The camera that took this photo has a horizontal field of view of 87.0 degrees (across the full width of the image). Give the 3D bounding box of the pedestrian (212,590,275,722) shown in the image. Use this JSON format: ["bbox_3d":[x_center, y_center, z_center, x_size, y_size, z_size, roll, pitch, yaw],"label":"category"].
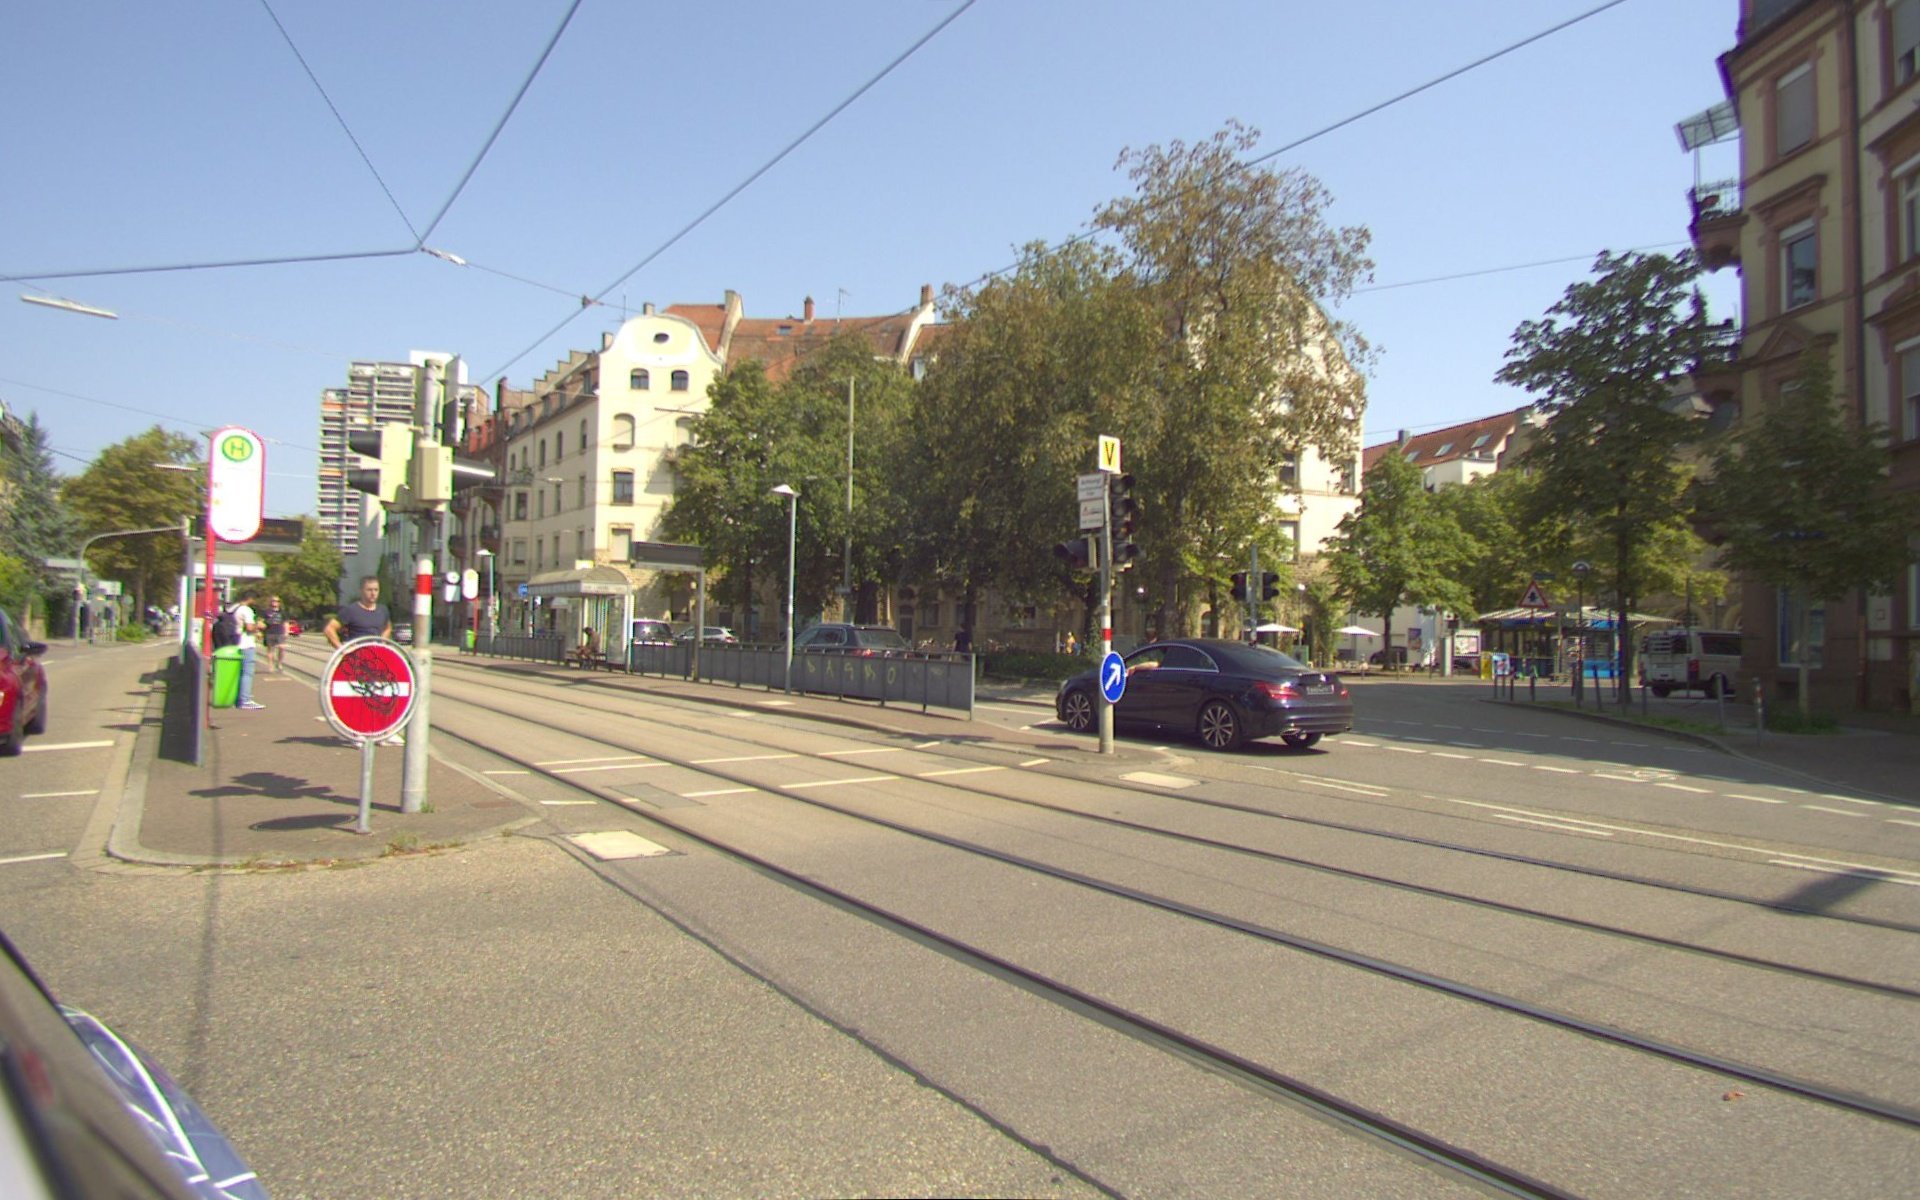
[{"bbox_3d":[-10.740,0.825,15.163,0.665,1.899,0.925,3,-3,-38],"label":"pedestrian"}]

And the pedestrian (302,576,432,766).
[{"bbox_3d":[-6.235,0.725,10.678,0.669,1.899,0.918,0,-2,16],"label":"pedestrian"}]

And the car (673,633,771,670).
[{"bbox_3d":[-12.477,2.705,53.228,4.574,1.739,1.996,2,-3,6],"label":"car"}]

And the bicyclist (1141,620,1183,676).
[{"bbox_3d":[7.698,1.812,38.535,1.208,2.029,1.196,1,-2,33],"label":"bicyclist"}]

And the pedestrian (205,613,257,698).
[{"bbox_3d":[-14.083,1.059,19.548,0.727,1.596,0.855,3,-3,-39],"label":"pedestrian"}]

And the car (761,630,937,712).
[{"bbox_3d":[-2.655,1.548,23.115,1.967,1.660,4.642,4,-3,-35],"label":"car"}]

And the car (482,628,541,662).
[{"bbox_3d":[-25.348,2.521,57.105,1.967,1.739,4.640,4,-3,-37],"label":"car"}]

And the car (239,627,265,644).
[{"bbox_3d":[-74.440,3.739,106.358,1.967,1.739,4.640,4,-3,-37],"label":"car"}]

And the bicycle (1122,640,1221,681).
[{"bbox_3d":[7.992,2.269,38.333,3.474,1.447,1.209,0,-3,33],"label":"bicycle"}]

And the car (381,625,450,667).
[{"bbox_3d":[-24.246,2.034,44.995,1.967,1.739,4.641,4,-3,-36],"label":"car"}]

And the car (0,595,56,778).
[{"bbox_3d":[-11.554,0.885,11.376,1.775,1.825,4.424,2,-2,-38],"label":"car"}]

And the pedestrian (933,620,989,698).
[{"bbox_3d":[0.023,1.561,27.318,1.077,2.029,1.038,1,-1,-38],"label":"pedestrian"}]

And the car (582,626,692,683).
[{"bbox_3d":[-10.852,1.795,33.794,1.968,1.739,4.640,4,-4,-38],"label":"car"}]

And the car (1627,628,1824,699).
[{"bbox_3d":[23.131,1.920,30.628,4.942,2.029,2.173,1,-2,-16],"label":"car"}]

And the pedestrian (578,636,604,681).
[{"bbox_3d":[-10.463,1.654,28.690,0.472,1.260,0.650,3,-3,-37],"label":"pedestrian"}]

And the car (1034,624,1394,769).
[{"bbox_3d":[3.302,1.201,14.039,1.967,1.660,4.641,4,-3,-36],"label":"car"}]

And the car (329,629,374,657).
[{"bbox_3d":[-40.442,2.866,67.193,1.967,1.739,4.640,4,-3,-37],"label":"car"}]

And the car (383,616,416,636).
[{"bbox_3d":[-52.540,2.425,94.795,1.967,1.739,4.640,4,-3,-37],"label":"car"}]
